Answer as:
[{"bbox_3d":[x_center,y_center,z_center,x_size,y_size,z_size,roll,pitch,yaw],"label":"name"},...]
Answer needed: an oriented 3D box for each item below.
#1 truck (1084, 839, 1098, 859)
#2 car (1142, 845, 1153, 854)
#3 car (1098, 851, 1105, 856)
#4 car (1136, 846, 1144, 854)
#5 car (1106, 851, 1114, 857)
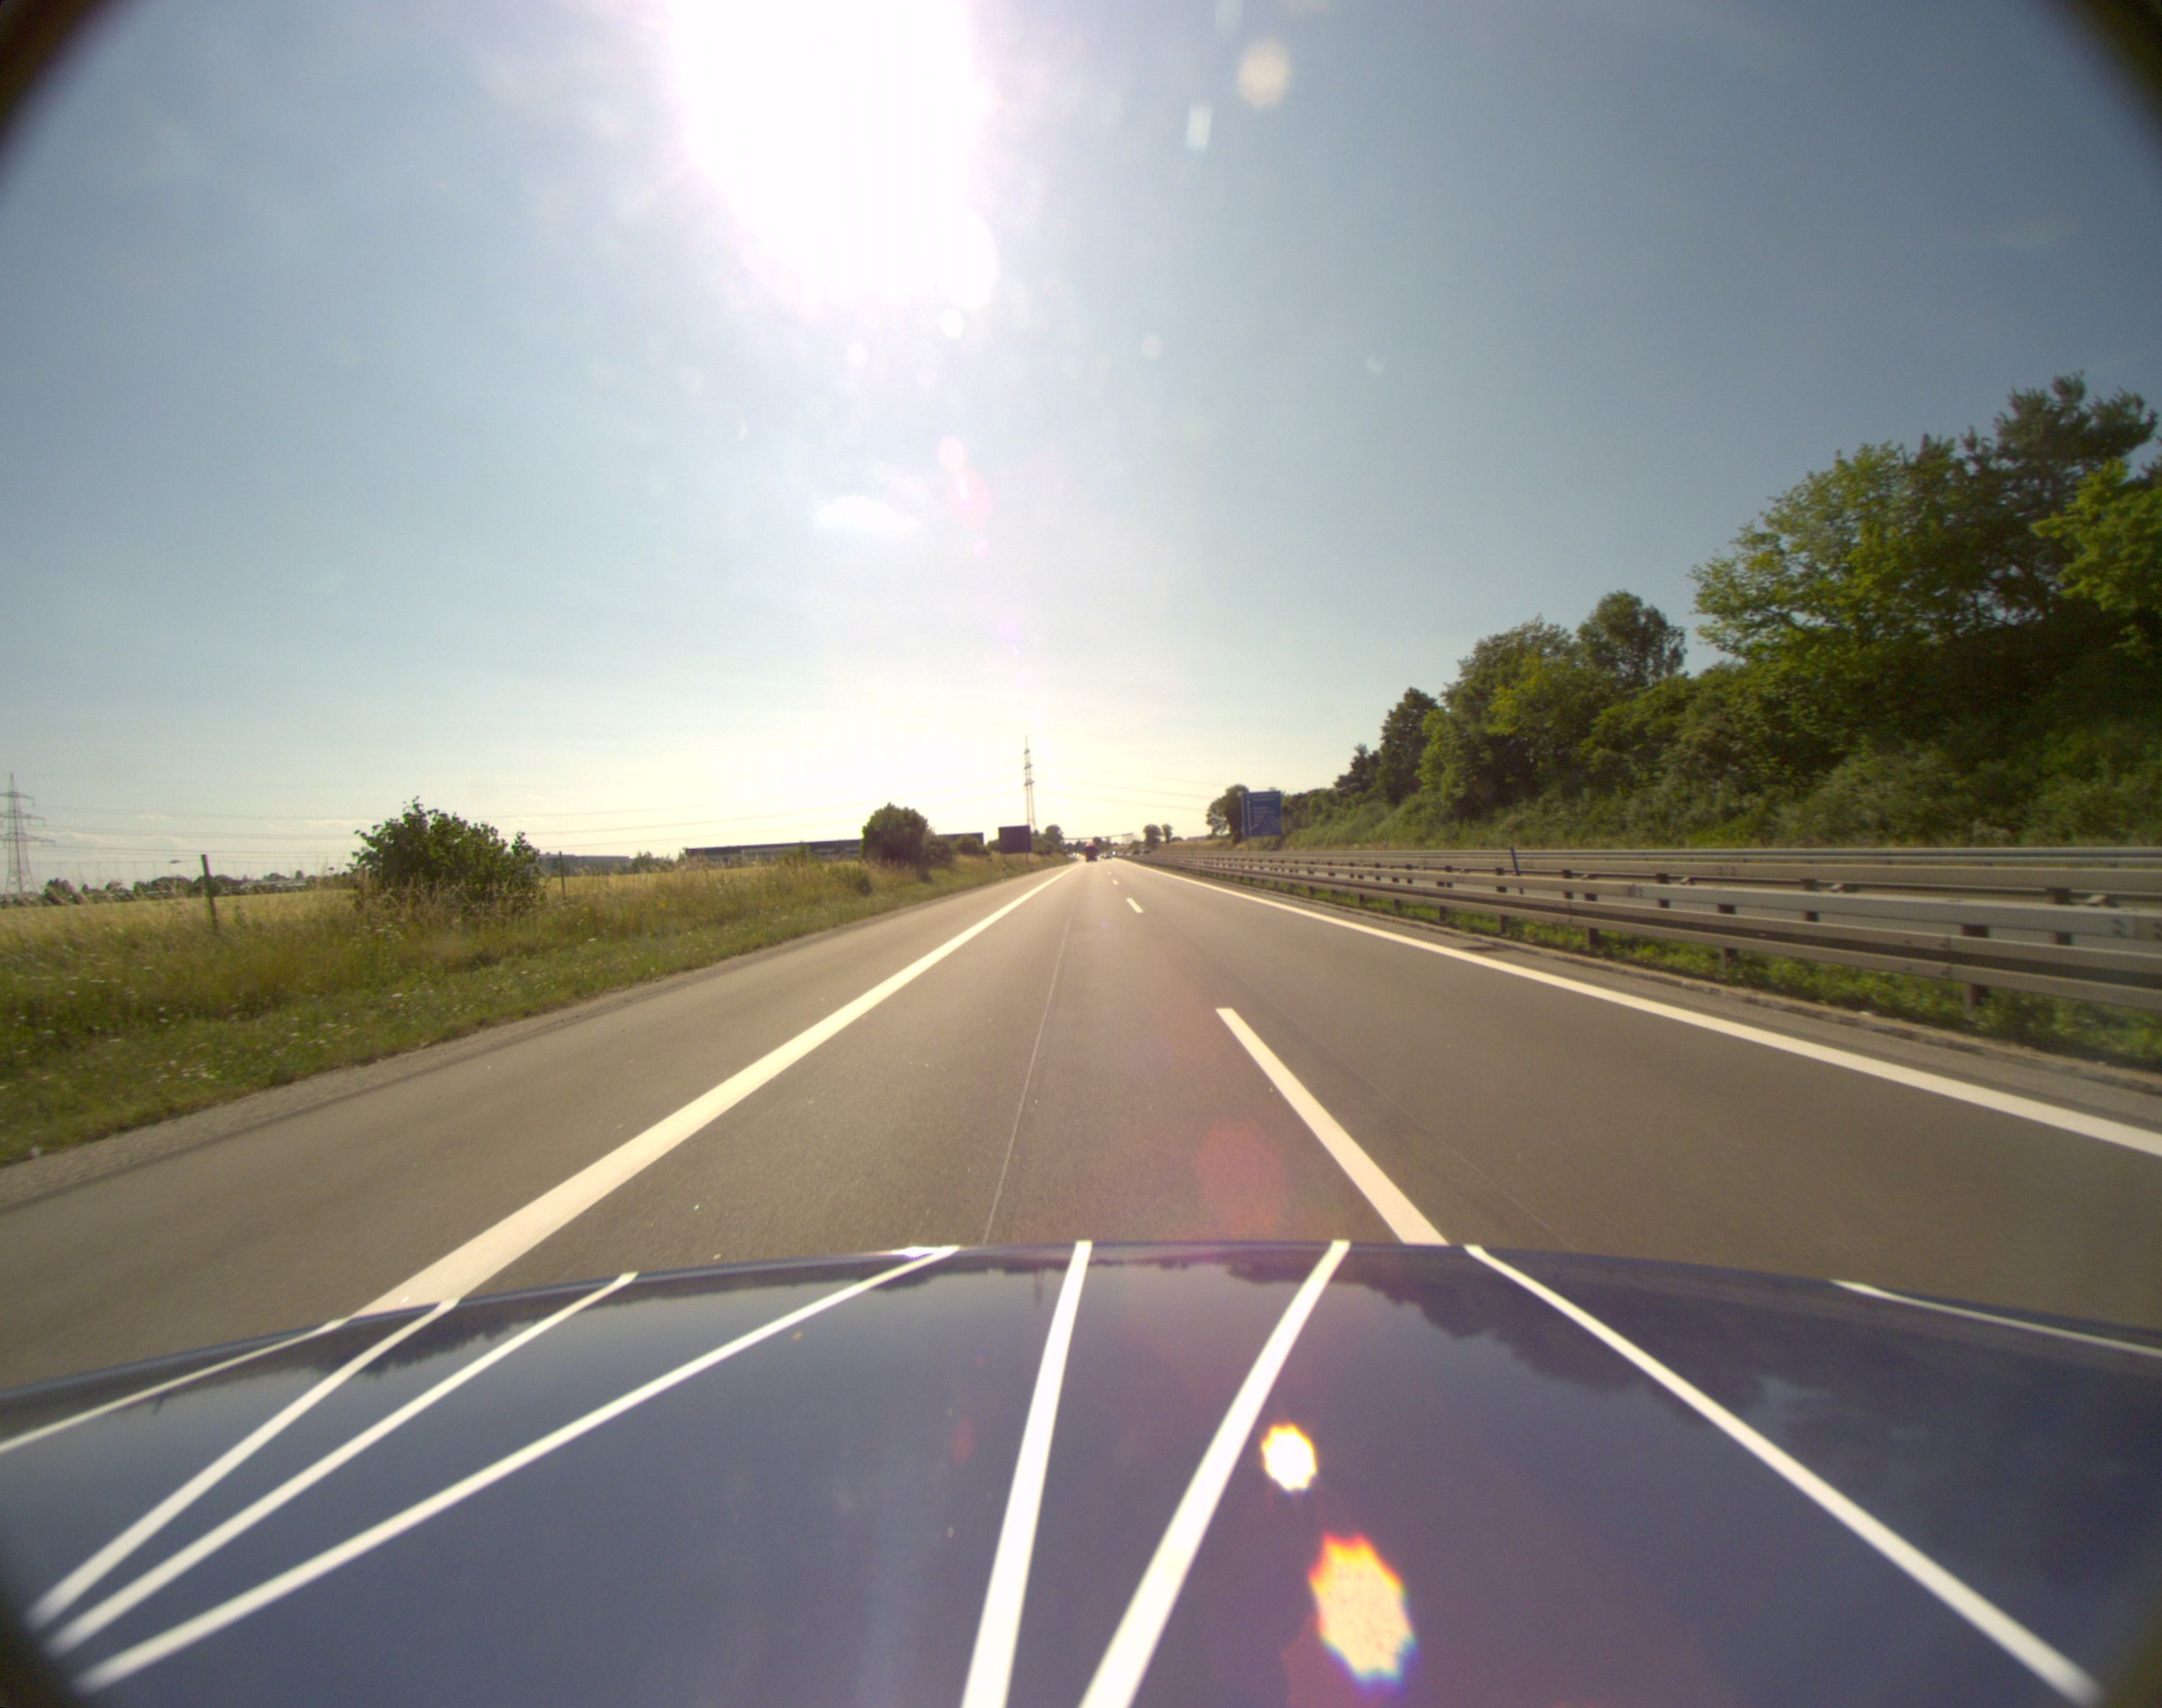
[{"bbox_3d":[2.129,-1.111,160.027,2.570,3.939,8.643,-5,0,0],"label":"truck"},{"bbox_3d":[14.846,-0.962,170.834,1.998,1.978,5.691,-3,0,1],"label":"car"},{"bbox_3d":[6.246,-0.121,232.542,1.860,1.361,3.999,-2,1,1],"label":"car"},{"bbox_3d":[16.237,-1.054,209.634,1.998,1.961,5.039,-3,0,1],"label":"car"},{"bbox_3d":[7.044,0.001,184.505,1.860,1.361,3.999,-2,1,1],"label":"car"}]
